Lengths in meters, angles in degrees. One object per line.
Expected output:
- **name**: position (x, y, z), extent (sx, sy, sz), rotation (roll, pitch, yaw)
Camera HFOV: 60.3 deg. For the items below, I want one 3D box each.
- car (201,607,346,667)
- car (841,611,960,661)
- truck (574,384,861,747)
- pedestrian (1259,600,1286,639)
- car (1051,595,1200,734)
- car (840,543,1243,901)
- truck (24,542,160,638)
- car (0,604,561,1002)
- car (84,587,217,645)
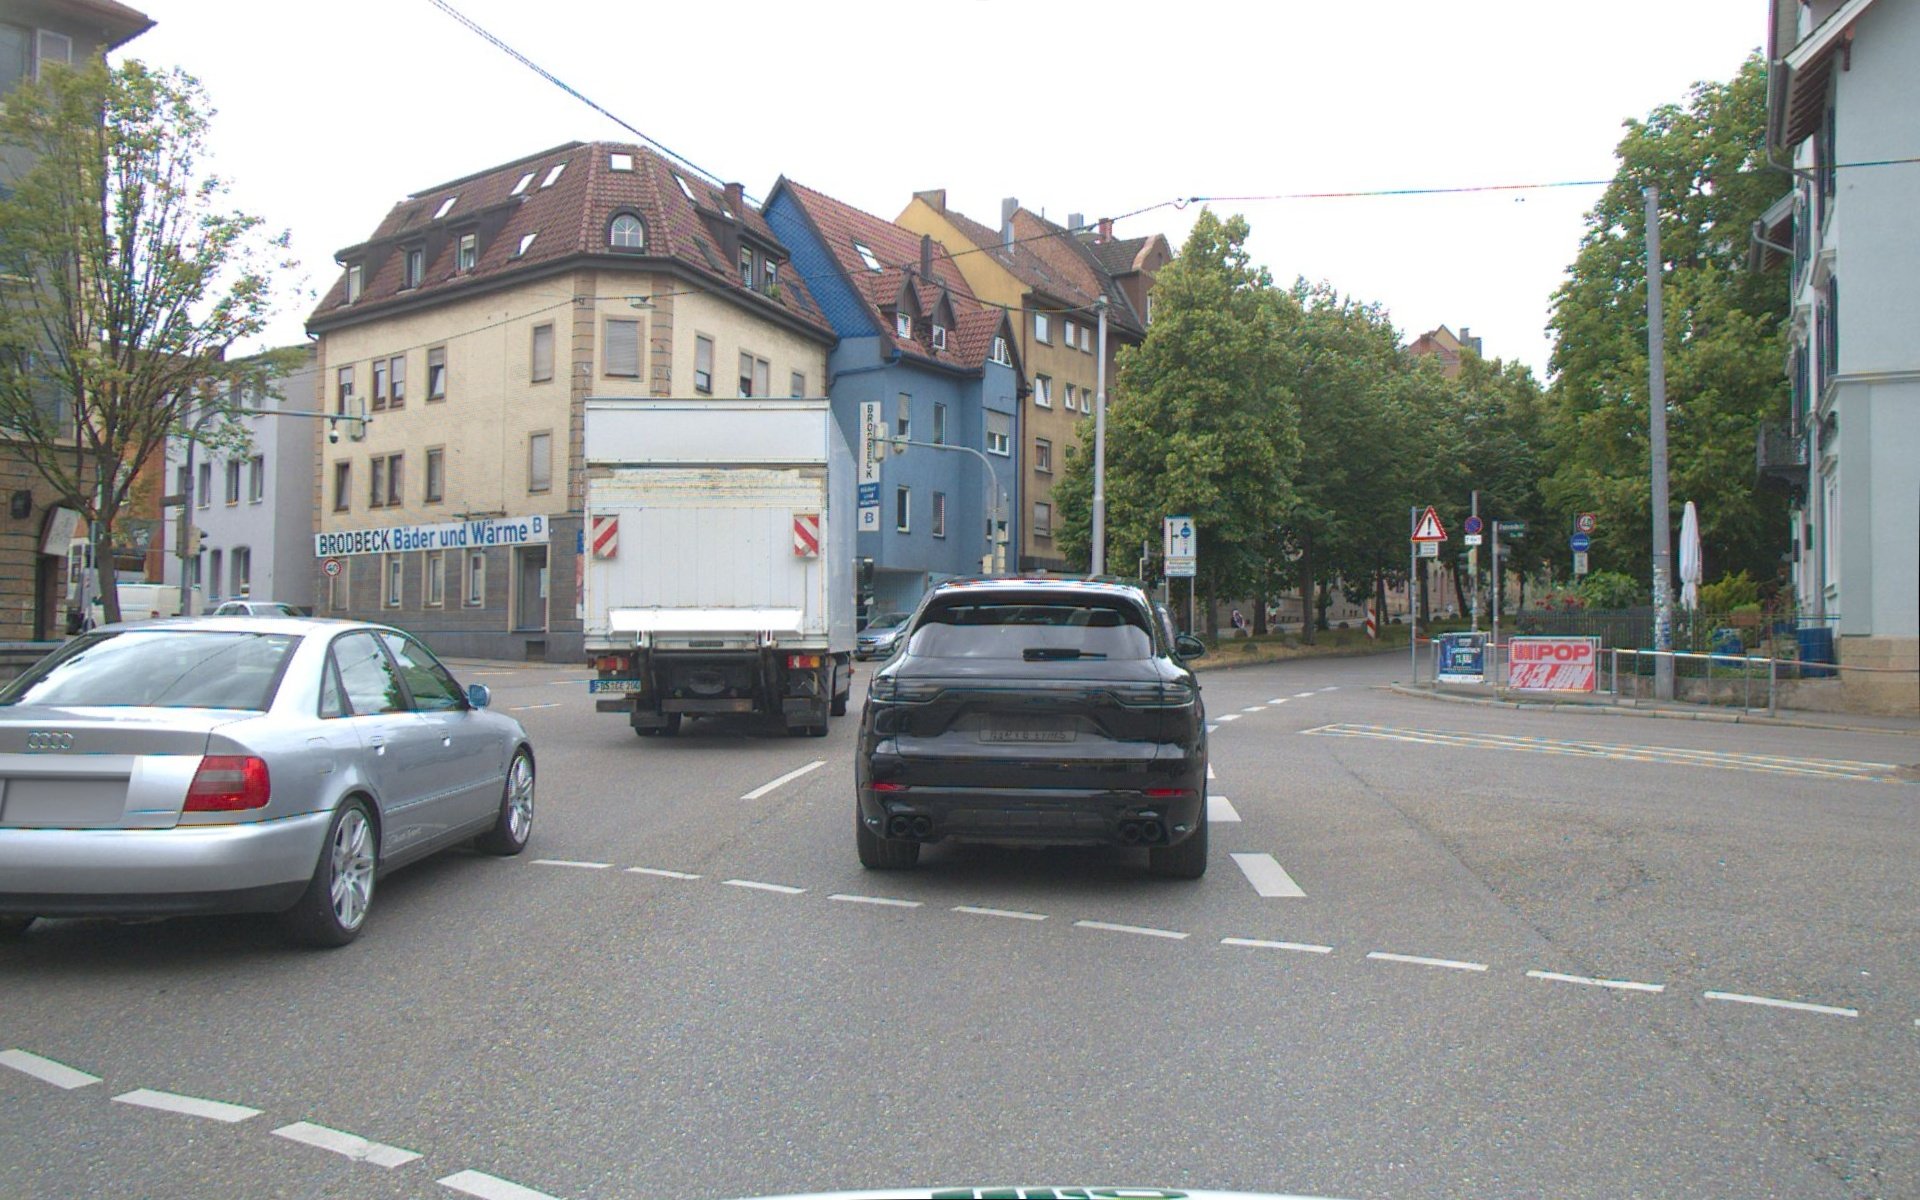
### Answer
- **car**: position (-18.160, 0.969, 43.701), extent (3.899, 1.495, 1.872), rotation (0, -2, 38)
- **car**: position (-1.817, 1.114, 51.708), extent (1.685, 1.502, 4.209), rotation (-2, -2, 31)
- **truck**: position (-2.672, -0.326, 20.776), extent (2.670, 3.606, 8.417), rotation (1, 0, -2)
- **pedestrian**: position (16.860, 1.056, 89.221), extent (1.169, 2.049, 0.987), rotation (1, 0, 29)
- **car**: position (2.199, 0.790, 21.252), extent (1.613, 1.583, 3.585), rotation (2, -1, 10)
- **car**: position (0.569, 0.605, 10.533), extent (1.989, 1.753, 4.502), rotation (1, 0, 4)
- **truck**: position (-32.764, -0.378, 62.369), extent (5.339, 3.413, 2.684), rotation (1, -1, 41)
- **car**: position (-3.314, 0.744, 8.099), extent (1.595, 1.389, 4.129), rotation (2, 0, 1)
- **car**: position (-26.609, 0.509, 54.313), extent (4.245, 1.831, 2.059), rotation (1, 0, 33)
